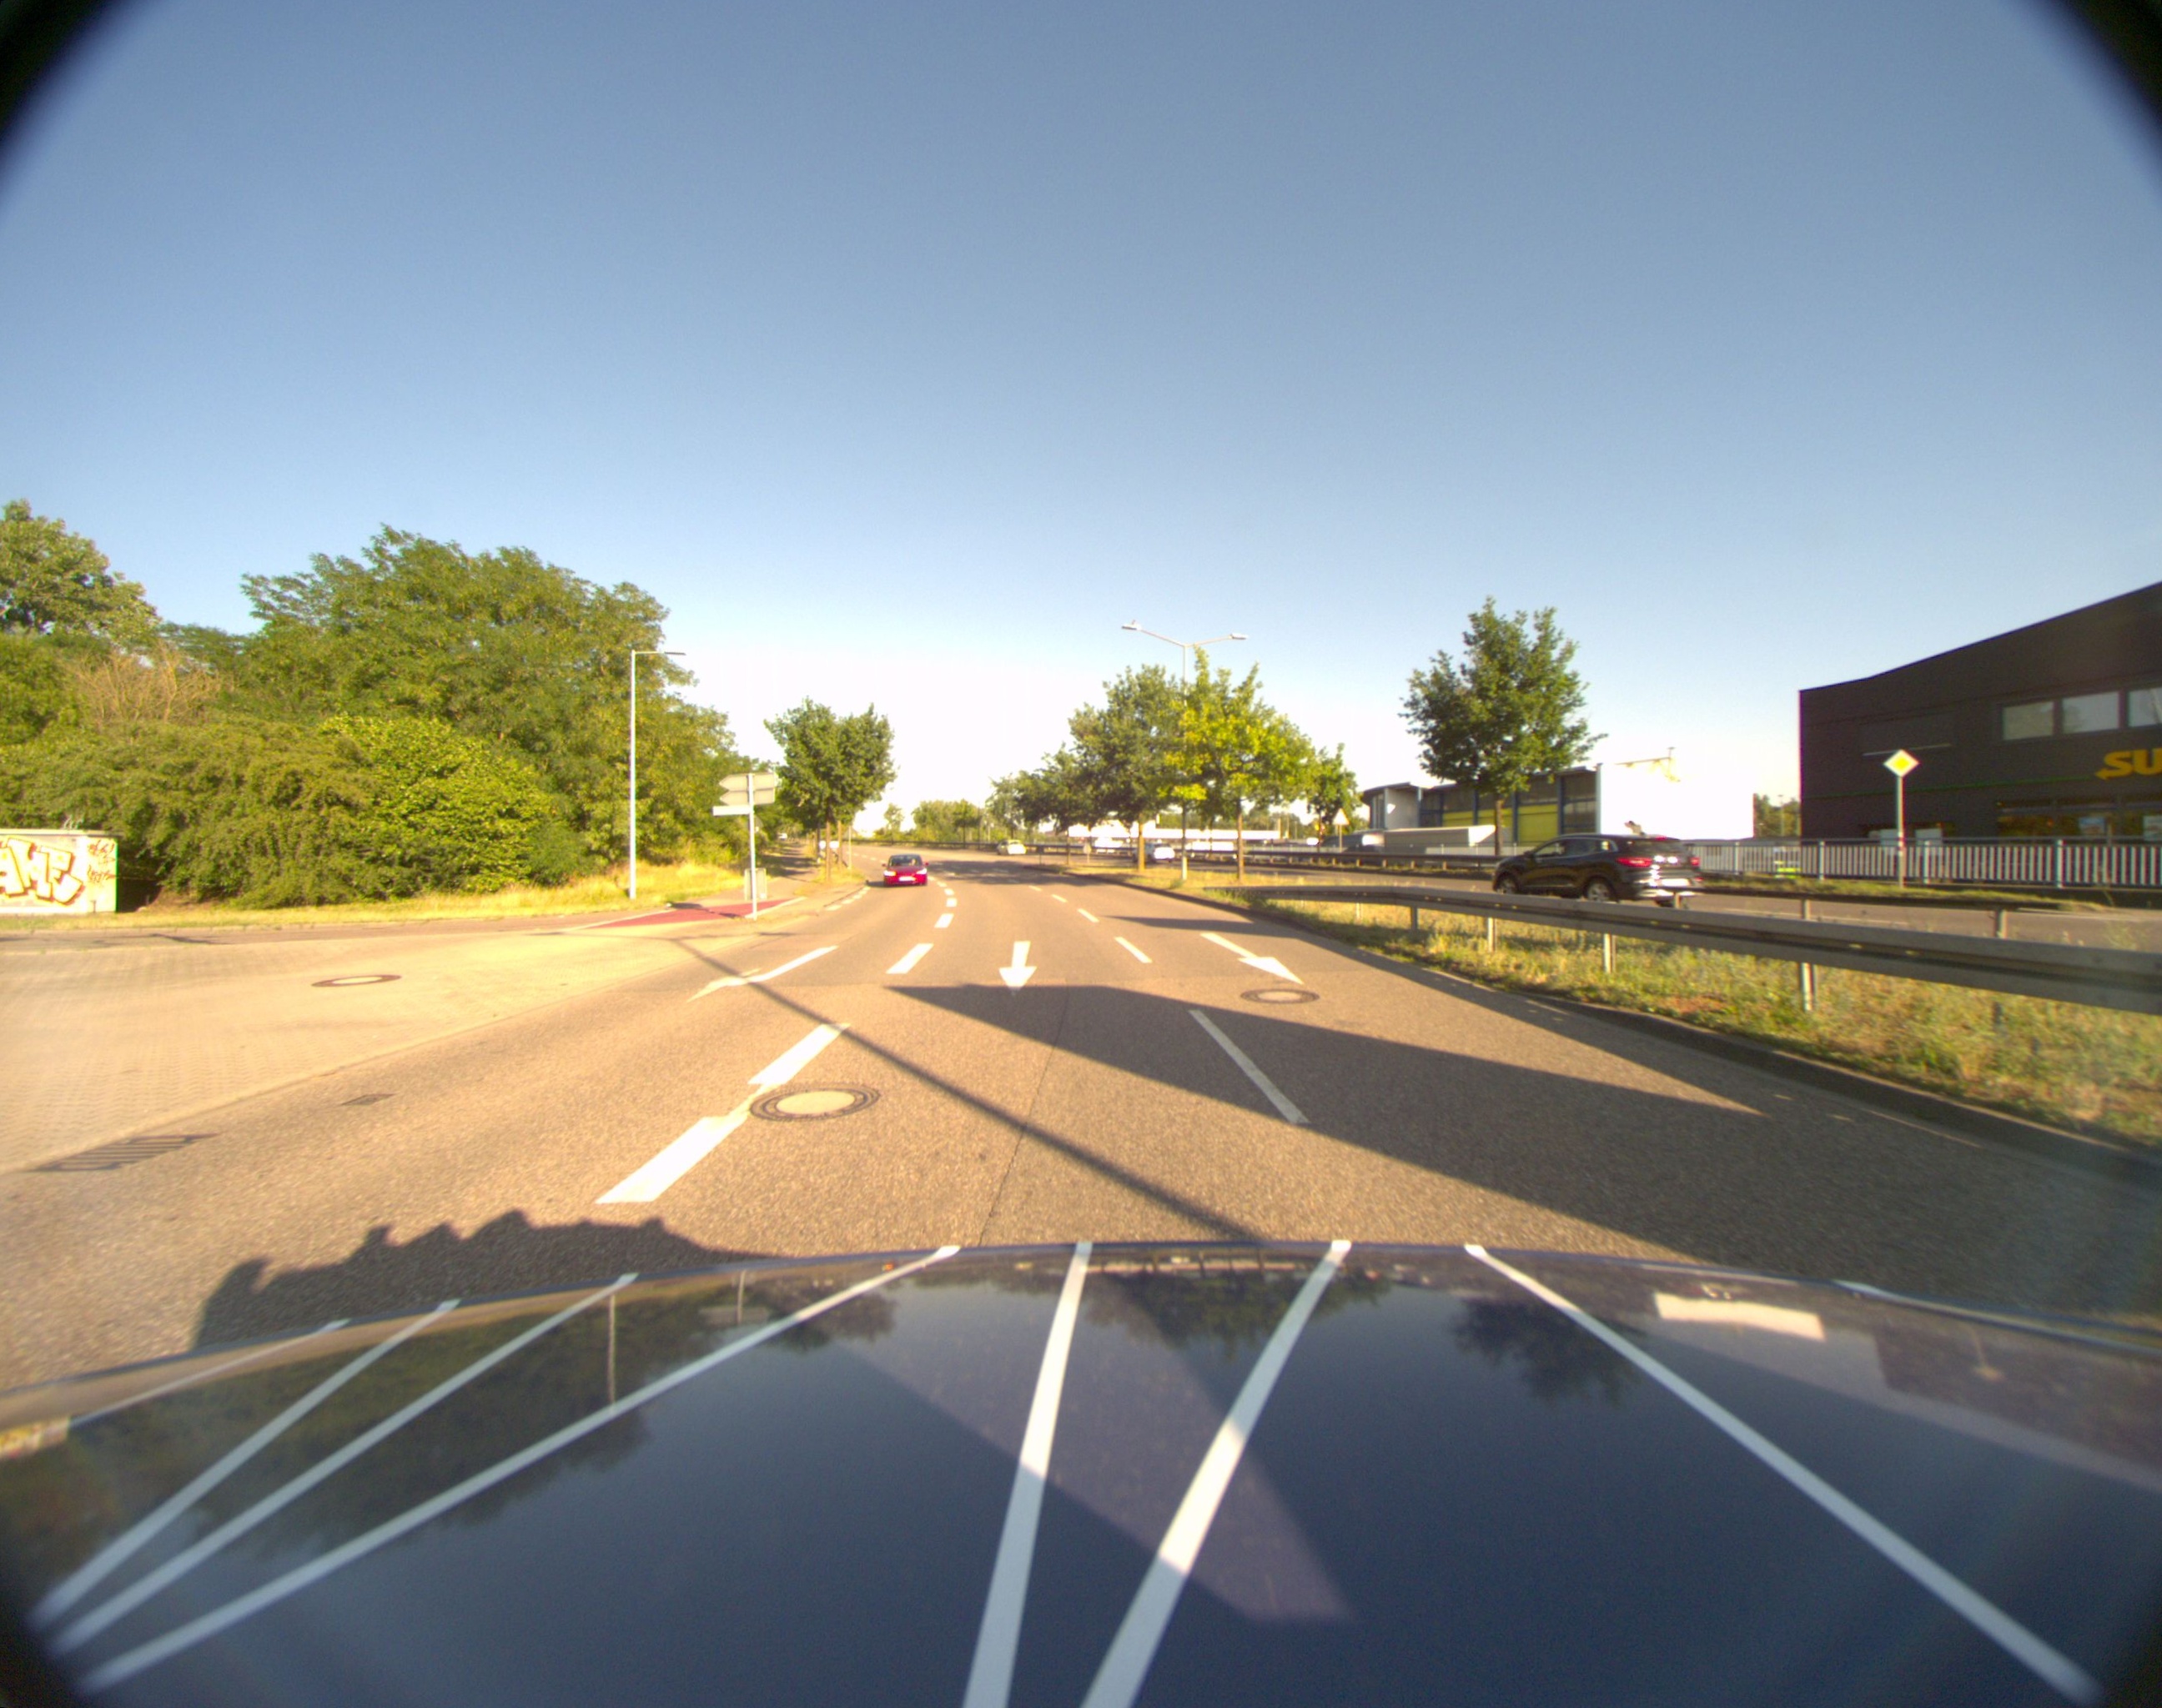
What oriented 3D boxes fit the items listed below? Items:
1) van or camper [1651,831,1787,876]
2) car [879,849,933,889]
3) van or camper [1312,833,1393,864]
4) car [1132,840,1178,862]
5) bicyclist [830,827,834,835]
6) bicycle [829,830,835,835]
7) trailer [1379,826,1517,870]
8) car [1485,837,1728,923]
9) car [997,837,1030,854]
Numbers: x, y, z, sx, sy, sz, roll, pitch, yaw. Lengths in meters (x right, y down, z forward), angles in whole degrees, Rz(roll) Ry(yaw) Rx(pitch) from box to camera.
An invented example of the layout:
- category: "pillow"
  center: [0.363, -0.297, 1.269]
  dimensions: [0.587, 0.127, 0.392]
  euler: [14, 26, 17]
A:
- category: "van or camper"
  center: [28.871, -0.059, 34.560]
  dimensions: [4.220, 1.915, 2.002]
  euler: [1, 3, 19]
- category: "car"
  center: [-8.018, 0.638, 34.577]
  dimensions: [1.784, 1.434, 4.350]
  euler: [-5, 4, -20]
- category: "van or camper"
  center: [15.839, -0.385, 44.631]
  dimensions: [2.001, 1.676, 4.952]
  euler: [-1, 2, -16]
- category: "car"
  center: [5.108, -0.239, 52.786]
  dimensions: [1.679, 1.454, 4.098]
  euler: [-1, 2, -19]
- category: "bicyclist"
  center: [-48.361, -4.407, 147.569]
  dimensions: [0.602, 1.451, 0.826]
  euler: [1, 2, -33]
- category: "bicycle"
  center: [-48.269, -4.177, 147.421]
  dimensions: [0.585, 1.071, 2.306]
  euler: [1, 2, -33]
- category: "trailer"
  center: [17.925, -0.365, 37.646]
  dimensions: [2.429, 1.959, 6.595]
  euler: [-1, 2, -15]
- category: "car"
  center: [11.021, 0.432, 16.423]
  dimensions: [1.852, 1.594, 4.390]
  euler: [0, 1, -7]
- category: "car"
  center: [-6.426, -0.802, 72.227]
  dimensions: [1.749, 1.454, 3.756]
  euler: [-3, 2, -29]
